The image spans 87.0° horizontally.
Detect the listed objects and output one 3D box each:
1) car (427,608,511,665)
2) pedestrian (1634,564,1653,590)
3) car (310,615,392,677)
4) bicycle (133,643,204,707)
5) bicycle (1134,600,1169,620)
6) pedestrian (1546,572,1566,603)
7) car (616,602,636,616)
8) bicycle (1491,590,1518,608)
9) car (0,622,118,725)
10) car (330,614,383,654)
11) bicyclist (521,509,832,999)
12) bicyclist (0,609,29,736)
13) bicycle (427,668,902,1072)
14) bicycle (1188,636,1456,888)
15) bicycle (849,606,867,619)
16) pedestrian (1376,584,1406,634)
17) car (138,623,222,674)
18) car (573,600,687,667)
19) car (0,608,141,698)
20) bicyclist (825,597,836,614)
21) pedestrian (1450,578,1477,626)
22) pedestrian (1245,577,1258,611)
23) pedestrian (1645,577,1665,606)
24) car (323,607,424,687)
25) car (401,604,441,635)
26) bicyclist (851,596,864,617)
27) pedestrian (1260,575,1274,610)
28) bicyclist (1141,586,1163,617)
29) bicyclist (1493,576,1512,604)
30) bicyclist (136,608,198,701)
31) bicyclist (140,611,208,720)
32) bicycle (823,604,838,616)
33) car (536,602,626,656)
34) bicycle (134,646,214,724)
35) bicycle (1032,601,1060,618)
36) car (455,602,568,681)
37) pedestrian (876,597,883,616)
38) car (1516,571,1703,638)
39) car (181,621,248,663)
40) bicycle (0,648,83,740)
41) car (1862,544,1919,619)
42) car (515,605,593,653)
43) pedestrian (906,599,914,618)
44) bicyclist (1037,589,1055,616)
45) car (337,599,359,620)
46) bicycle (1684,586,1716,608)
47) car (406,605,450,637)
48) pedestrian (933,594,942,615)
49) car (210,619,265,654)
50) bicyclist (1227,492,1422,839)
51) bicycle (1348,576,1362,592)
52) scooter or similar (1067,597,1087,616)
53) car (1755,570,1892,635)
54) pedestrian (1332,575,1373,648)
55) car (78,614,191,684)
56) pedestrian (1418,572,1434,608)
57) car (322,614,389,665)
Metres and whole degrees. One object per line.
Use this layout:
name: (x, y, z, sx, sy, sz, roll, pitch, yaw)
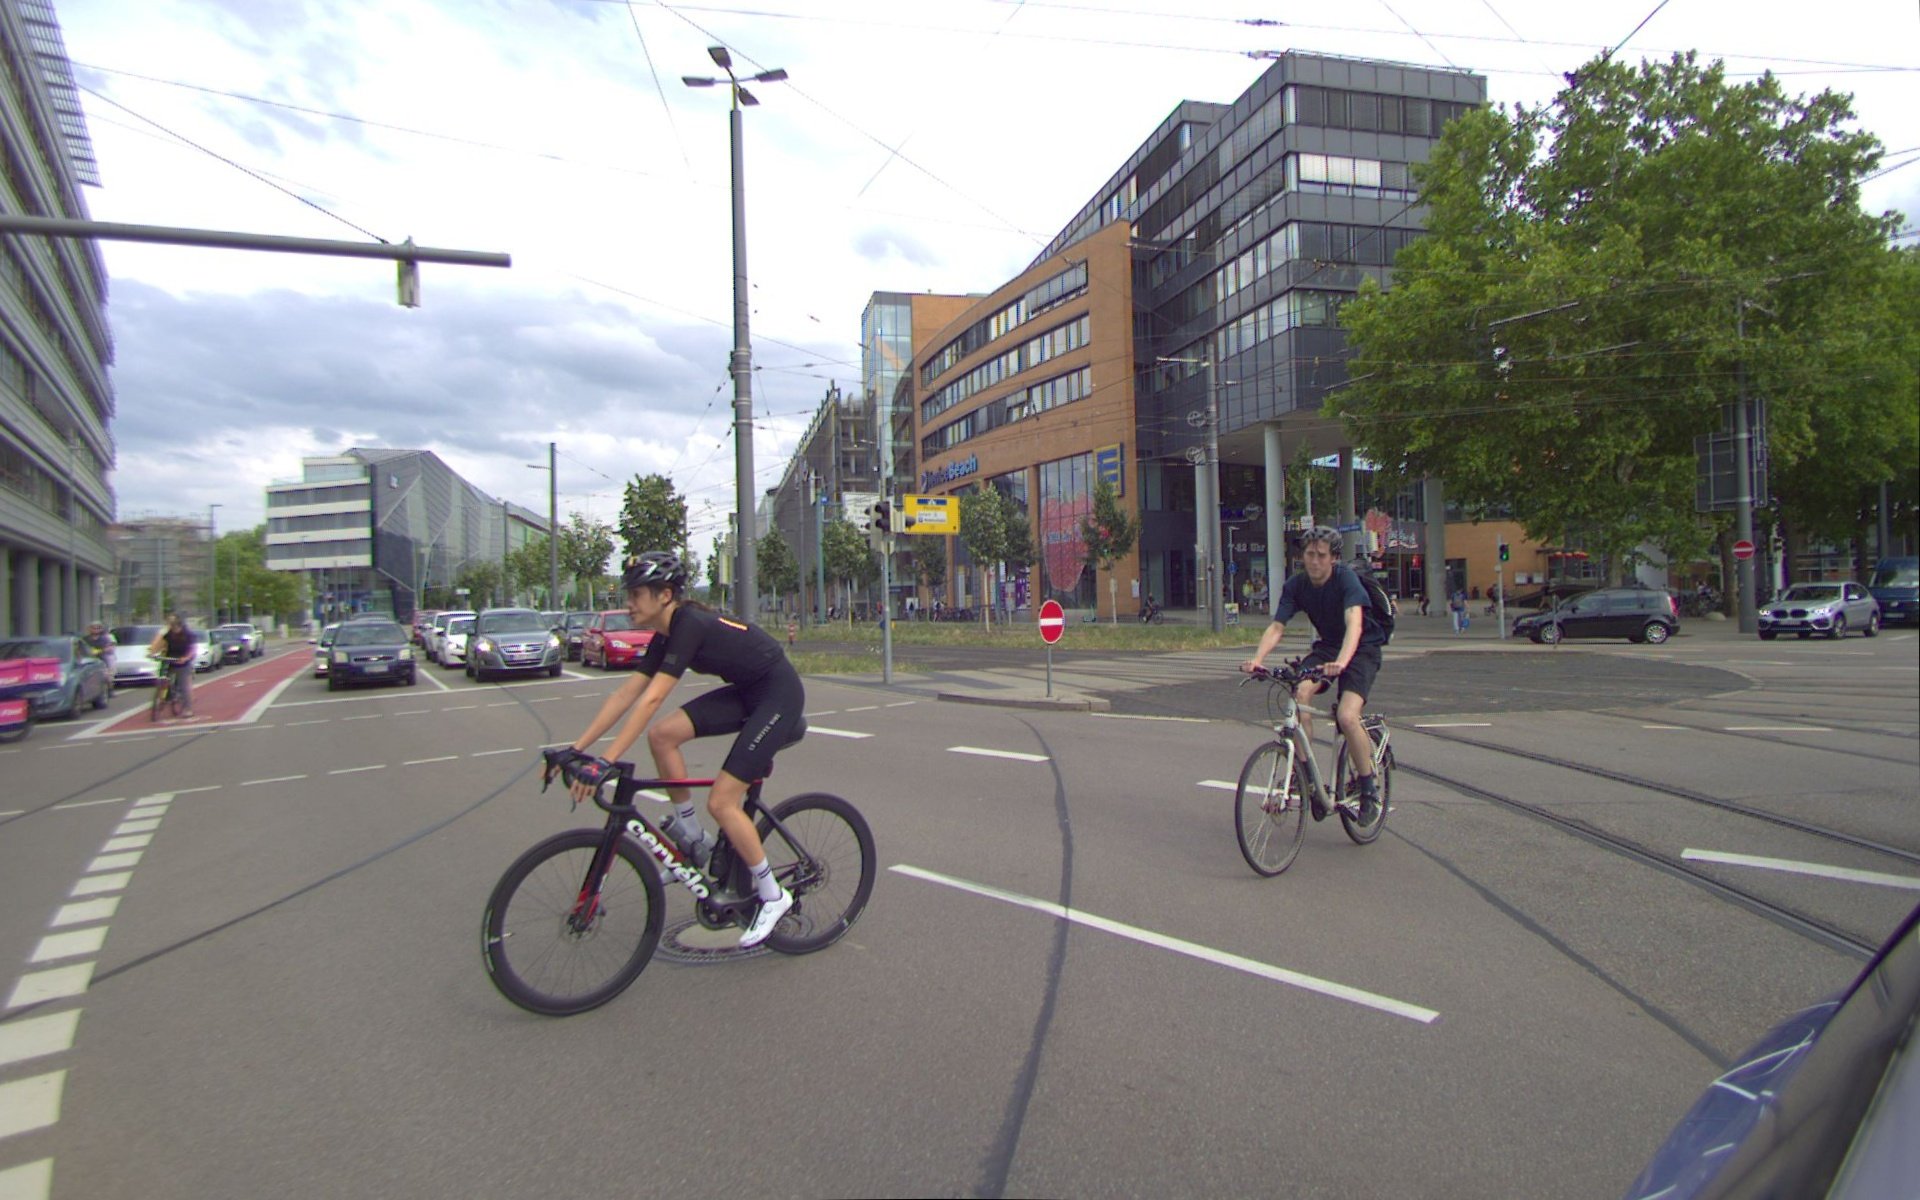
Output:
car: (-14.519, 1.022, 29.807, 1.788, 1.479, 4.002, -3, 1, -32)
pedestrian: (40.370, -1.342, 59.743, 0.668, 1.529, 0.589, -3, 0, -16)
car: (-17.072, 1.225, 28.381, 1.788, 1.479, 4.002, -3, 1, -32)
bicycle: (-15.250, 1.411, 19.554, 0.735, 1.070, 2.223, -2, 0, -30)
bicycle: (10.119, 0.506, 53.620, 0.626, 1.024, 2.006, -1, 0, -32)
pedestrian: (33.915, -0.719, 57.615, 0.730, 1.753, 0.587, -2, 0, 4)
car: (-43.494, 1.189, 131.871, 1.729, 1.640, 4.005, -2, 1, -6)
bicycle: (28.564, -0.058, 53.090, 1.510, 0.928, 0.536, -2, 0, -30)
car: (-16.306, 1.227, 17.718, 1.788, 1.552, 4.002, -3, 1, -32)
car: (-25.412, 1.402, 42.592, 1.754, 1.479, 4.002, -3, 1, -32)
bicyclist: (-1.113, 0.519, 4.019, 1.017, 1.675, 0.590, -1, 0, -40)
bicyclist: (-13.302, 1.001, 13.507, 0.649, 1.695, 1.033, -3, 1, 8)
bicycle: (-1.097, 0.914, 4.011, 1.704, 1.153, 0.595, -1, 0, -40)
bicycle: (2.123, 0.826, 5.810, 1.825, 1.153, 0.595, -1, 0, -40)
bicycle: (-8.331, 1.027, 82.772, 0.626, 1.024, 2.006, -1, 0, -33)
pedestrian: (14.703, 0.300, 34.556, 0.729, 1.672, 0.588, -2, 0, -32)
car: (-26.325, 1.593, 34.269, 1.788, 1.479, 4.002, -3, 1, -32)
car: (-8.401, 0.797, 25.569, 1.788, 1.451, 4.002, -3, 1, -32)
car: (-20.168, 1.117, 23.063, 1.788, 1.783, 4.002, -2, 1, -32)
bicyclist: (-10.918, 0.468, 85.285, 0.524, 1.460, 0.844, -2, 0, -33)
pedestrian: (18.521, 0.063, 37.236, 0.729, 1.754, 0.588, -1, 0, -32)
pedestrian: (16.203, -0.336, 56.286, 0.617, 1.890, 0.670, -1, 0, 15)
pedestrian: (37.348, -0.449, 54.386, 0.669, 1.529, 0.588, -3, 0, -28)
car: (-13.272, 0.980, 22.857, 1.788, 1.552, 4.002, -2, 1, -32)
car: (-32.671, 1.177, 61.254, 1.788, 1.687, 4.413, -3, 1, -32)
bicyclist: (-8.392, 0.524, 82.854, 0.625, 1.636, 0.979, -1, 0, -33)
pedestrian: (16.844, -0.410, 55.529, 0.535, 1.890, 0.515, -1, 0, -6)
bicyclist: (10.171, 0.087, 53.539, 0.625, 1.636, 0.979, -1, 0, -33)
bicyclist: (28.387, -0.526, 52.991, 0.724, 1.451, 0.532, -2, 0, -30)
bicyclist: (-15.242, 1.019, 19.474, 0.730, 1.687, 0.982, -4, 1, -30)
bicyclist: (-12.905, 1.048, 16.644, 0.662, 1.687, 0.982, -4, 1, -30)
bicycle: (-10.908, 0.838, 85.275, 0.526, 0.946, 1.794, -2, 0, -33)
car: (-11.585, 0.844, 30.795, 1.788, 1.451, 4.002, -3, 1, -32)
bicycle: (-12.877, 1.356, 16.630, 0.670, 1.069, 2.208, -4, 1, -30)
bicycle: (5.220, 0.588, 61.621, 0.626, 1.024, 2.006, -2, 0, -32)
car: (-10.463, 0.886, 23.423, 1.788, 1.552, 4.222, -3, 1, -32)
pedestrian: (-7.114, 0.559, 89.828, 0.437, 1.619, 0.486, -1, -1, -23)
car: (18.688, 0.131, 29.351, 4.123, 1.760, 1.954, -2, 0, 18)
car: (-29.694, 1.635, 40.400, 1.754, 1.479, 4.002, -3, 1, -32)
bicycle: (-13.278, 1.333, 13.573, 0.650, 1.153, 2.435, -3, 2, 8)
car: (34.619, -0.710, 36.184, 6.868, 2.487, 2.175, -2, 0, -37)
car: (-14.050, 0.976, 34.881, 1.788, 1.451, 4.002, -3, 1, -32)
pedestrian: (-4.147, 0.698, 84.063, 0.475, 1.619, 0.448, -2, 0, -16)
bicyclist: (5.234, 0.164, 61.599, 0.626, 1.636, 0.979, -2, 0, -33)
car: (-61.448, 0.938, 101.605, 1.787, 2.045, 4.002, -1, 0, -32)
bicycle: (34.707, -0.141, 47.449, 1.688, 0.928, 0.536, -2, 0, -30)
car: (-28.882, 1.119, 54.850, 1.788, 1.552, 4.002, -3, 1, -32)
pedestrian: (-1.755, 0.332, 79.230, 0.604, 1.619, 0.448, -2, 0, -16)
car: (-33.739, 1.670, 47.353, 1.754, 1.479, 4.002, -3, 1, -32)
bicyclist: (2.097, 0.331, 5.793, 1.017, 1.793, 0.590, -1, 0, -40)
bicycle: (23.209, -0.960, 59.479, 0.527, 0.928, 1.558, -2, 1, 12)
scooter or similar: (7.158, 0.400, 61.918, 0.476, 1.182, 1.477, -2, 0, -27)
car: (25.362, 0.053, 29.694, 4.552, 1.682, 1.964, -2, -2, -36)
pedestrian: (9.911, 0.284, 25.547, 0.657, 1.814, 0.678, -2, 0, -38)
car: (-22.187, 1.255, 27.361, 1.788, 1.641, 4.170, -2, 1, -32)
pedestrian: (24.609, -0.538, 53.467, 0.504, 1.890, 0.547, -1, 0, -13)
car: (-20.381, 1.271, 34.088, 1.788, 1.479, 4.002, -3, 1, -32)
